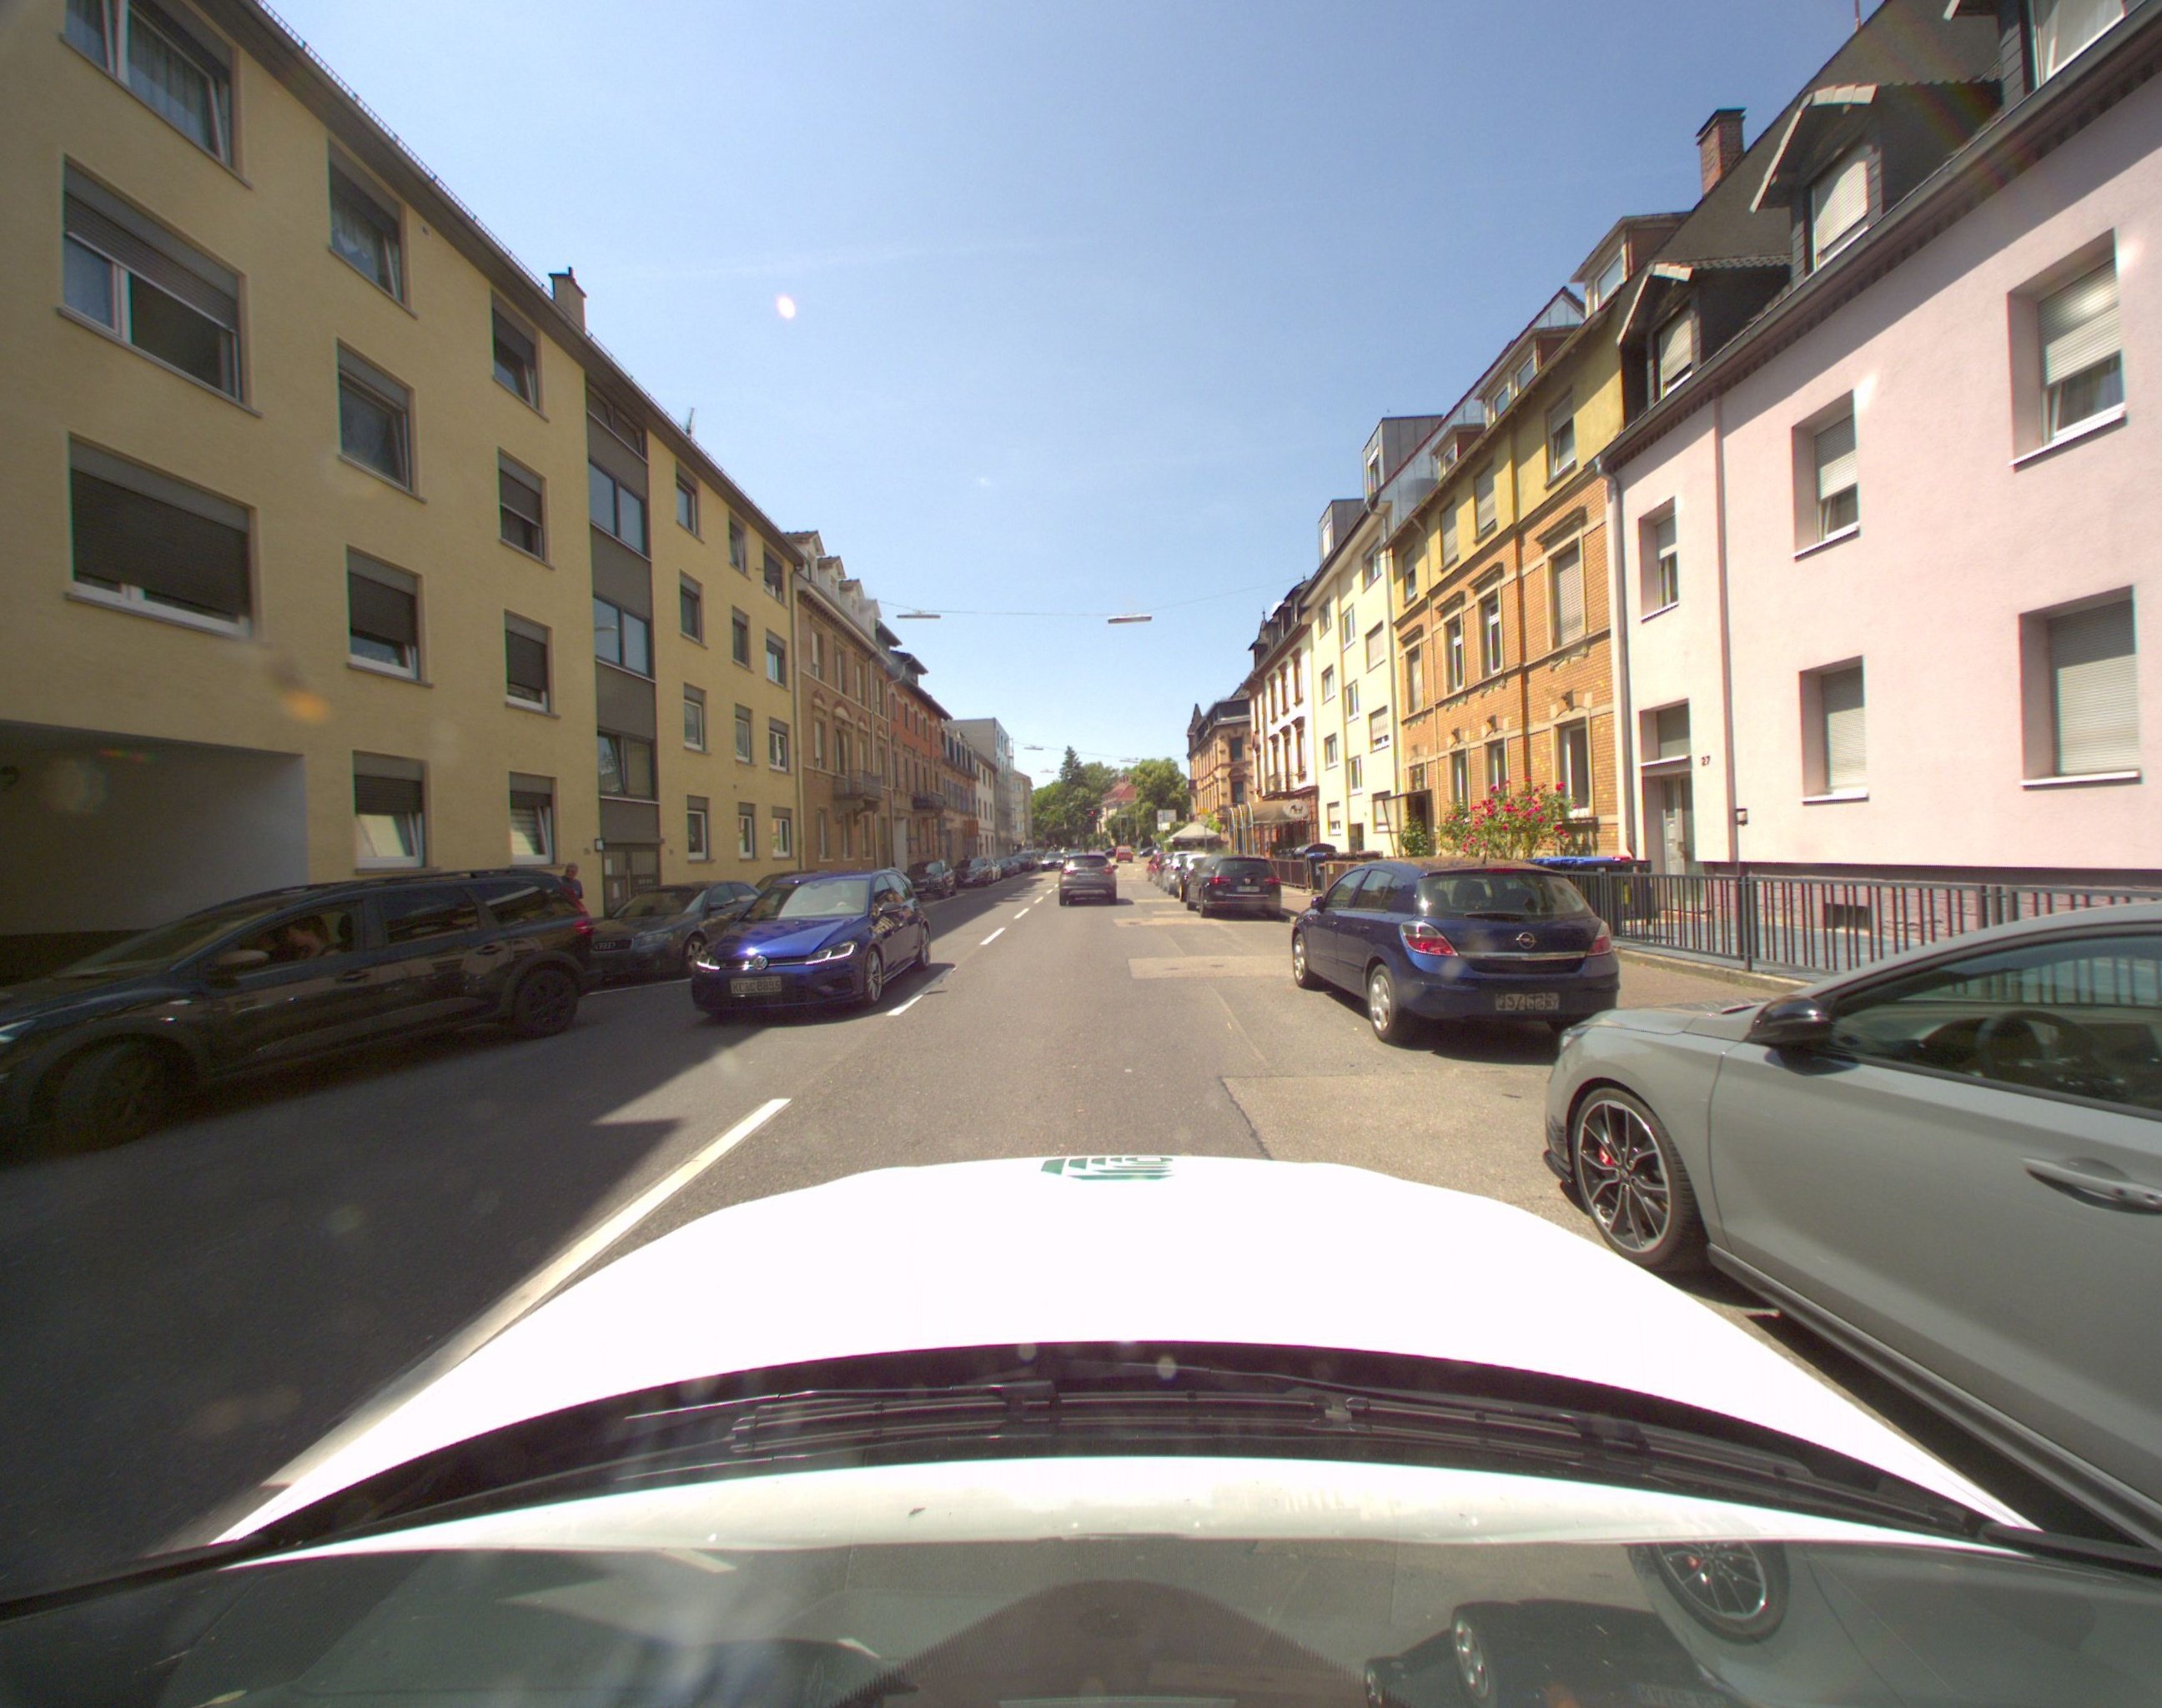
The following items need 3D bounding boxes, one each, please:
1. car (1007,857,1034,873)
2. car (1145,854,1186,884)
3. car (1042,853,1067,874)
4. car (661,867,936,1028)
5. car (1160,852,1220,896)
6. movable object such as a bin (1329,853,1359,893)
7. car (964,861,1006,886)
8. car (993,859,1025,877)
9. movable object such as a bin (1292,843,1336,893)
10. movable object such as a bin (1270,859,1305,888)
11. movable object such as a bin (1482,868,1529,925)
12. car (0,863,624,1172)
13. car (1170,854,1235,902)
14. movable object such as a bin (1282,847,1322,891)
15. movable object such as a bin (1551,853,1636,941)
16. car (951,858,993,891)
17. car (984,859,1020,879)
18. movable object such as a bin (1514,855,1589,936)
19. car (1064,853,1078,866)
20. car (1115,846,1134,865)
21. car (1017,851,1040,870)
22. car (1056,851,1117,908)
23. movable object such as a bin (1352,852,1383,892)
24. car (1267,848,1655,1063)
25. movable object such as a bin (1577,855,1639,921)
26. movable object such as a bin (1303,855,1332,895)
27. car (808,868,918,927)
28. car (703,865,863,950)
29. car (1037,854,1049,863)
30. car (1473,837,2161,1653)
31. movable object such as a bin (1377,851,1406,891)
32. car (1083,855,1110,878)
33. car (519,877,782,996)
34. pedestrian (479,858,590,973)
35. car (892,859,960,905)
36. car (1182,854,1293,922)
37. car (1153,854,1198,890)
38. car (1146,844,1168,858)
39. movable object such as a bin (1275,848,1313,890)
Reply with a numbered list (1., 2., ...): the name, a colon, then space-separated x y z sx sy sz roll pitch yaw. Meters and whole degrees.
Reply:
1. car: -5.307 0.967 71.772 1.897 1.291 4.304 -3 0 2
2. car: 4.249 0.726 41.313 1.607 1.443 3.434 -1 0 -2
3. car: -2.246 0.784 69.607 1.933 1.626 3.999 -3 0 0
4. car: -3.043 0.924 9.746 1.810 1.388 4.000 -3 0 0
5. car: 4.080 0.695 30.974 1.853 1.553 4.002 0 0 2
6. movable object such as a bin: 7.883 0.559 24.447 0.635 1.186 0.853 -1 0 3
7. car: -6.001 1.180 51.278 1.898 1.357 4.304 -4 0 1
8. car: -5.696 1.069 64.887 1.897 1.291 4.305 -3 0 3
9. movable object such as a bin: 7.362 0.435 25.807 1.038 1.518 1.447 -1 0 3
10. movable object such as a bin: 7.488 0.703 29.569 1.038 1.023 0.992 -1 0 3
11. movable object such as a bin: 7.147 0.711 13.722 0.466 0.913 0.564 -3 0 0
12. car: -6.525 1.025 6.779 1.889 1.637 4.579 -4 0 18
13. car: 3.908 0.738 26.748 1.653 1.441 4.002 -1 0 2
14. movable object such as a bin: 7.353 0.495 27.179 1.038 1.402 1.255 -1 0 3
15. movable object such as a bin: 6.656 0.546 10.610 0.649 1.083 0.684 -2 0 4
16. car: -6.061 1.088 45.684 1.901 1.619 4.297 -4 0 -3
17. car: -5.718 1.092 59.477 1.897 1.291 4.306 -3 0 3
18. movable object such as a bin: 6.629 0.572 11.501 0.649 1.083 0.684 -2 0 4
19. car: -1.356 0.729 112.239 1.786 1.626 3.740 -2 0 -2
20. car: 5.070 0.167 94.908 1.985 2.013 4.470 -3 0 3
21. car: -5.531 0.686 85.780 1.897 1.821 4.304 -3 0 2
22. car: 0.195 0.743 25.812 1.738 1.616 4.000 -1 0 1
23. movable object such as a bin: 8.593 0.529 24.431 0.665 1.177 0.852 -1 0 3
24. car: 3.190 0.707 8.012 1.690 1.487 4.618 0 0 0
25. movable object such as a bin: 8.822 0.562 13.653 0.557 1.050 0.667 -3 0 -1
26. movable object such as a bin: 7.073 0.612 24.408 0.635 1.177 0.912 -1 0 3
27. car: -6.426 1.223 24.616 1.898 1.401 4.755 -4 0 1
28. car: -6.534 1.093 18.419 1.898 1.510 4.302 -4 0 0
29. car: -6.827 0.785 146.790 1.783 1.626 3.746 -2 0 3
30. car: 2.884 0.705 1.848 1.855 1.487 4.307 0 0 -1
31. movable object such as a bin: 9.290 0.489 24.416 0.635 1.177 0.627 -1 0 3
32. car: 1.176 0.919 63.101 1.807 1.620 4.439 -4 0 -1
33. car: -6.610 1.174 13.111 1.898 1.379 4.062 -4 0 1
34. pedestrian: -8.894 0.972 13.310 0.963 1.750 1.155 -2 0 1
35. car: -6.409 1.116 34.154 1.899 1.619 4.301 -4 0 0
36. car: 3.678 0.739 19.975 1.854 1.465 4.618 0 0 0
37. car: 4.072 0.738 35.605 1.605 1.461 3.506 -2 0 1
38. car: 8.982 -0.395 95.893 1.884 1.508 3.958 -3 0 14
39. movable object such as a bin: 7.420 0.505 28.436 1.038 1.402 1.255 -1 0 3
